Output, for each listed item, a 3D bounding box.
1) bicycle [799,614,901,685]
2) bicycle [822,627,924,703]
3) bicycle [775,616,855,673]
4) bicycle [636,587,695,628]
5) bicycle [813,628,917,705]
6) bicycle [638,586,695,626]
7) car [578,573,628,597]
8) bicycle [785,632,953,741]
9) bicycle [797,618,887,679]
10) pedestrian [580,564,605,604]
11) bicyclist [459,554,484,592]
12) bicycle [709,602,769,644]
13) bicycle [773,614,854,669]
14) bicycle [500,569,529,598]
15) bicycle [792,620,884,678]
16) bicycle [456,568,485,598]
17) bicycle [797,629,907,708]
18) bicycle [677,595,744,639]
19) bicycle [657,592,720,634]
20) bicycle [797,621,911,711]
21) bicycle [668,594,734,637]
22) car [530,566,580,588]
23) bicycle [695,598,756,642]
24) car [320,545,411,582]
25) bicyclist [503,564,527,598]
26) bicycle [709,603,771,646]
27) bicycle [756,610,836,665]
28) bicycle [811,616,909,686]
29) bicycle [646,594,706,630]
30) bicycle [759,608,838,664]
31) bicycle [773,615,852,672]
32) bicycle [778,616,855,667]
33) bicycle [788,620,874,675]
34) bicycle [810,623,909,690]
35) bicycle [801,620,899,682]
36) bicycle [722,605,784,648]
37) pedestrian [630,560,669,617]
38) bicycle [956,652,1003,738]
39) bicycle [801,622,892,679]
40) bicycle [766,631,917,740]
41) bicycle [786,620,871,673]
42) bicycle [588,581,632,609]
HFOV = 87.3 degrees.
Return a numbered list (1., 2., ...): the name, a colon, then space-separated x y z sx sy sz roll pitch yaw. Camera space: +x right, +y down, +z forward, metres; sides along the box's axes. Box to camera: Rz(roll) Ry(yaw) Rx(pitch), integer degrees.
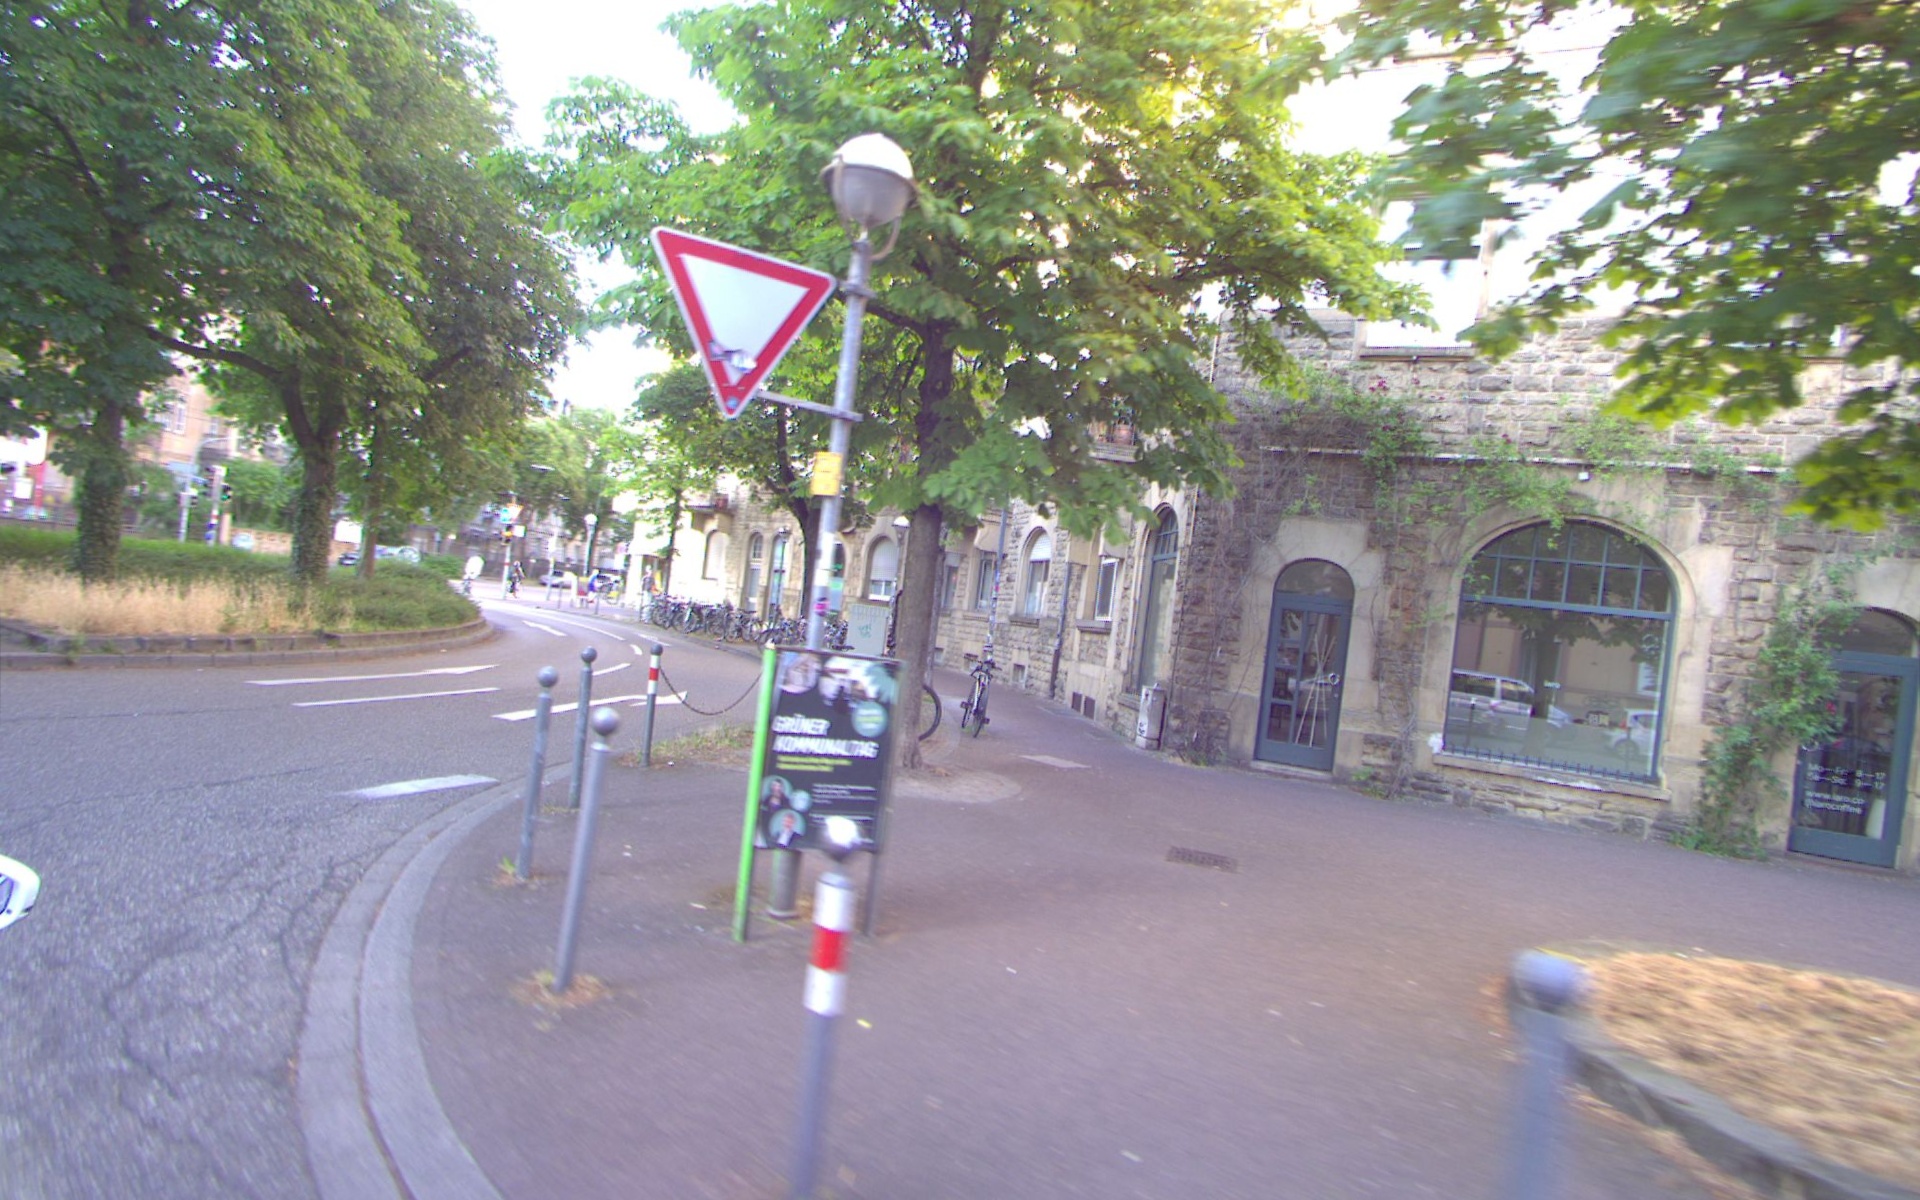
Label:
1. bicycle: -2.248 1.021 20.652 1.893 1.214 0.550 7 0 -19
2. bicycle: -1.476 1.102 17.120 1.582 1.089 0.418 7 0 -13
3. bicycle: -3.482 1.078 24.285 1.829 1.095 0.421 7 -19 -20
4. bicycle: -10.335 0.273 35.339 0.690 1.251 1.784 7 -1 43
5. bicycle: -1.581 1.105 16.710 1.582 1.076 0.418 7 0 -13
6. bicycle: -10.633 0.238 36.475 0.642 1.251 1.785 7 -1 41
7. car: -29.331 -1.186 82.834 1.913 1.528 4.636 7 -1 7
8. bicycle: -1.078 1.023 12.055 1.863 1.052 0.432 7 0 4
9. bicycle: -2.600 1.076 22.225 1.827 1.130 0.417 7 0 -16
10. pedestrian: -17.834 -0.799 48.827 0.859 1.816 0.919 7 0 -25
11. bicyclist: -19.888 -1.110 40.961 0.693 1.428 0.857 7 0 -34
12. bicycle: -6.853 0.721 31.264 1.657 1.091 0.482 7 0 -30
13. bicycle: -3.633 1.026 24.948 1.829 1.158 0.417 7 0 -20
14. bicycle: -21.132 -0.762 47.737 0.688 1.251 1.860 7 -1 -8
15. bicycle: -2.759 1.110 22.744 1.893 1.074 0.533 7 0 -19
16. bicycle: -19.937 -0.695 40.961 0.693 1.067 1.776 7 0 -34
17. bicycle: -1.691 1.067 15.781 1.580 1.033 0.554 7 0 -8
18. bicycle: -8.049 0.552 32.471 1.875 1.176 0.698 8 -1 -36
19. bicycle: -9.052 0.450 33.569 0.632 1.176 1.882 7 -1 43
20. bicycle: -1.620 0.993 15.343 1.580 1.162 0.554 7 0 -8
21. bicycle: -8.507 0.506 33.068 1.875 1.176 0.634 8 0 -36
22. car: -33.808 -1.903 84.155 1.972 1.443 4.635 7 -1 3
23. bicycle: -7.305 0.633 31.335 1.657 1.144 0.482 7 6 -29
24. car: -32.909 -1.979 55.854 1.913 1.528 4.423 7 -1 7
25. bicyclist: -21.113 -0.894 47.731 0.688 1.479 0.783 7 0 -9
26. bicycle: -6.589 0.745 30.199 1.662 1.091 0.481 8 0 -38
27. bicycle: -4.274 0.983 26.230 1.868 1.154 0.487 9 3 -33
28. bicycle: -1.977 1.018 19.970 1.769 1.182 0.446 7 0 -16
29. bicycle: -9.793 0.427 34.687 0.690 1.051 1.798 7 -1 43
30. bicycle: -4.143 0.939 25.812 1.858 1.229 0.491 7 -6 -20
31. bicycle: -3.582 1.068 24.541 1.829 1.133 0.421 7 -19 -20
32. bicycle: -3.612 1.058 25.512 1.844 1.117 0.567 8 -1 -43
33. bicycle: -2.963 1.101 23.185 1.829 1.064 0.417 7 0 -20
34. bicycle: -1.948 1.100 19.560 1.769 1.076 0.446 7 0 -16
35. bicycle: -2.335 1.089 21.393 1.893 1.078 0.550 7 0 -19
36. bicycle: -6.143 0.799 29.902 1.662 1.091 0.481 8 0 -38
37. pedestrian: -12.331 -0.466 39.960 1.004 2.112 1.051 6 1 -34
38. bicycle: 0.244 1.243 13.538 0.424 0.980 1.726 7 -1 -2
39. bicycle: -2.479 1.105 21.924 1.827 1.026 0.417 7 0 -16
40. bicycle: -1.369 0.981 11.701 1.577 1.052 0.432 7 0 4
41. bicycle: -3.063 1.085 23.457 1.829 1.011 0.417 7 0 -20
42. bicycle: -17.628 -0.249 50.655 1.859 1.144 0.725 8 -1 -32
